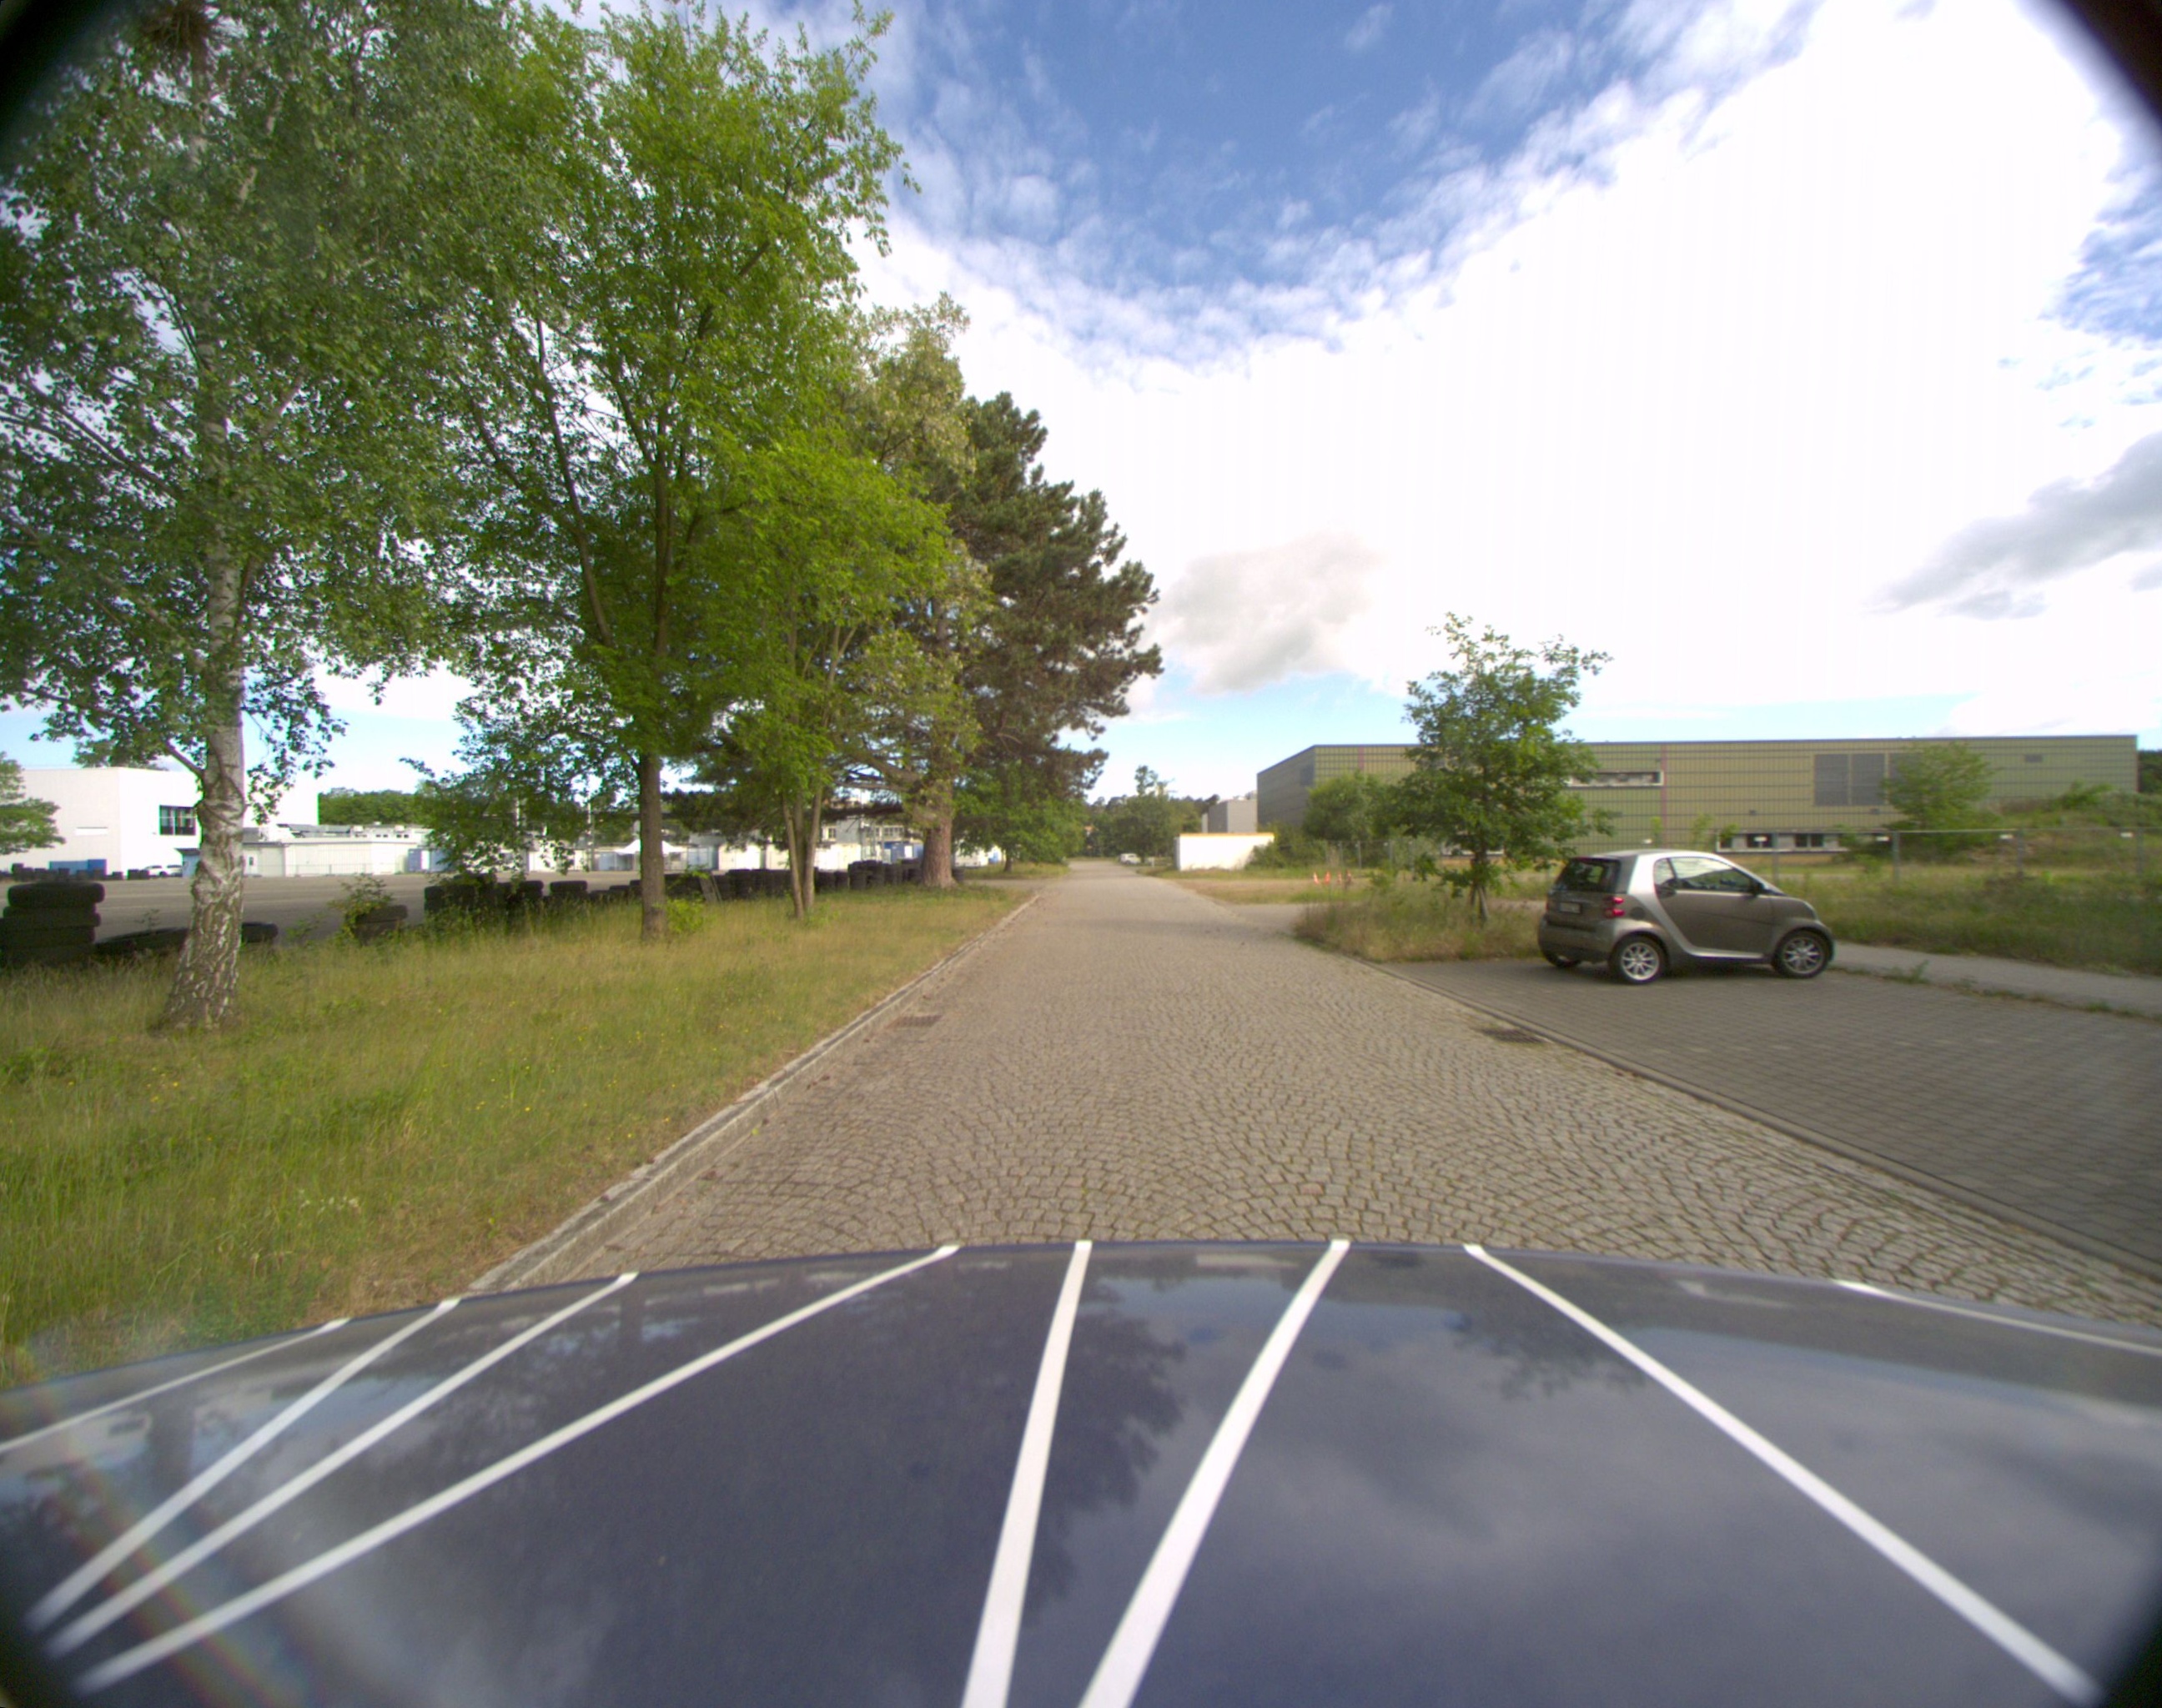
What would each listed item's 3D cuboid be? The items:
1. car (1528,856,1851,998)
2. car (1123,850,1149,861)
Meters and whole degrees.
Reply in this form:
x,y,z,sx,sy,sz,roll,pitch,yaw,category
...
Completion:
x,y,z,sx,sy,sz,roll,pitch,yaw,category
7.326,0.824,9.363,2.661,1.502,1.610,-2,0,0,car
8.419,0.279,116.582,3.996,1.604,1.797,0,1,4,car
